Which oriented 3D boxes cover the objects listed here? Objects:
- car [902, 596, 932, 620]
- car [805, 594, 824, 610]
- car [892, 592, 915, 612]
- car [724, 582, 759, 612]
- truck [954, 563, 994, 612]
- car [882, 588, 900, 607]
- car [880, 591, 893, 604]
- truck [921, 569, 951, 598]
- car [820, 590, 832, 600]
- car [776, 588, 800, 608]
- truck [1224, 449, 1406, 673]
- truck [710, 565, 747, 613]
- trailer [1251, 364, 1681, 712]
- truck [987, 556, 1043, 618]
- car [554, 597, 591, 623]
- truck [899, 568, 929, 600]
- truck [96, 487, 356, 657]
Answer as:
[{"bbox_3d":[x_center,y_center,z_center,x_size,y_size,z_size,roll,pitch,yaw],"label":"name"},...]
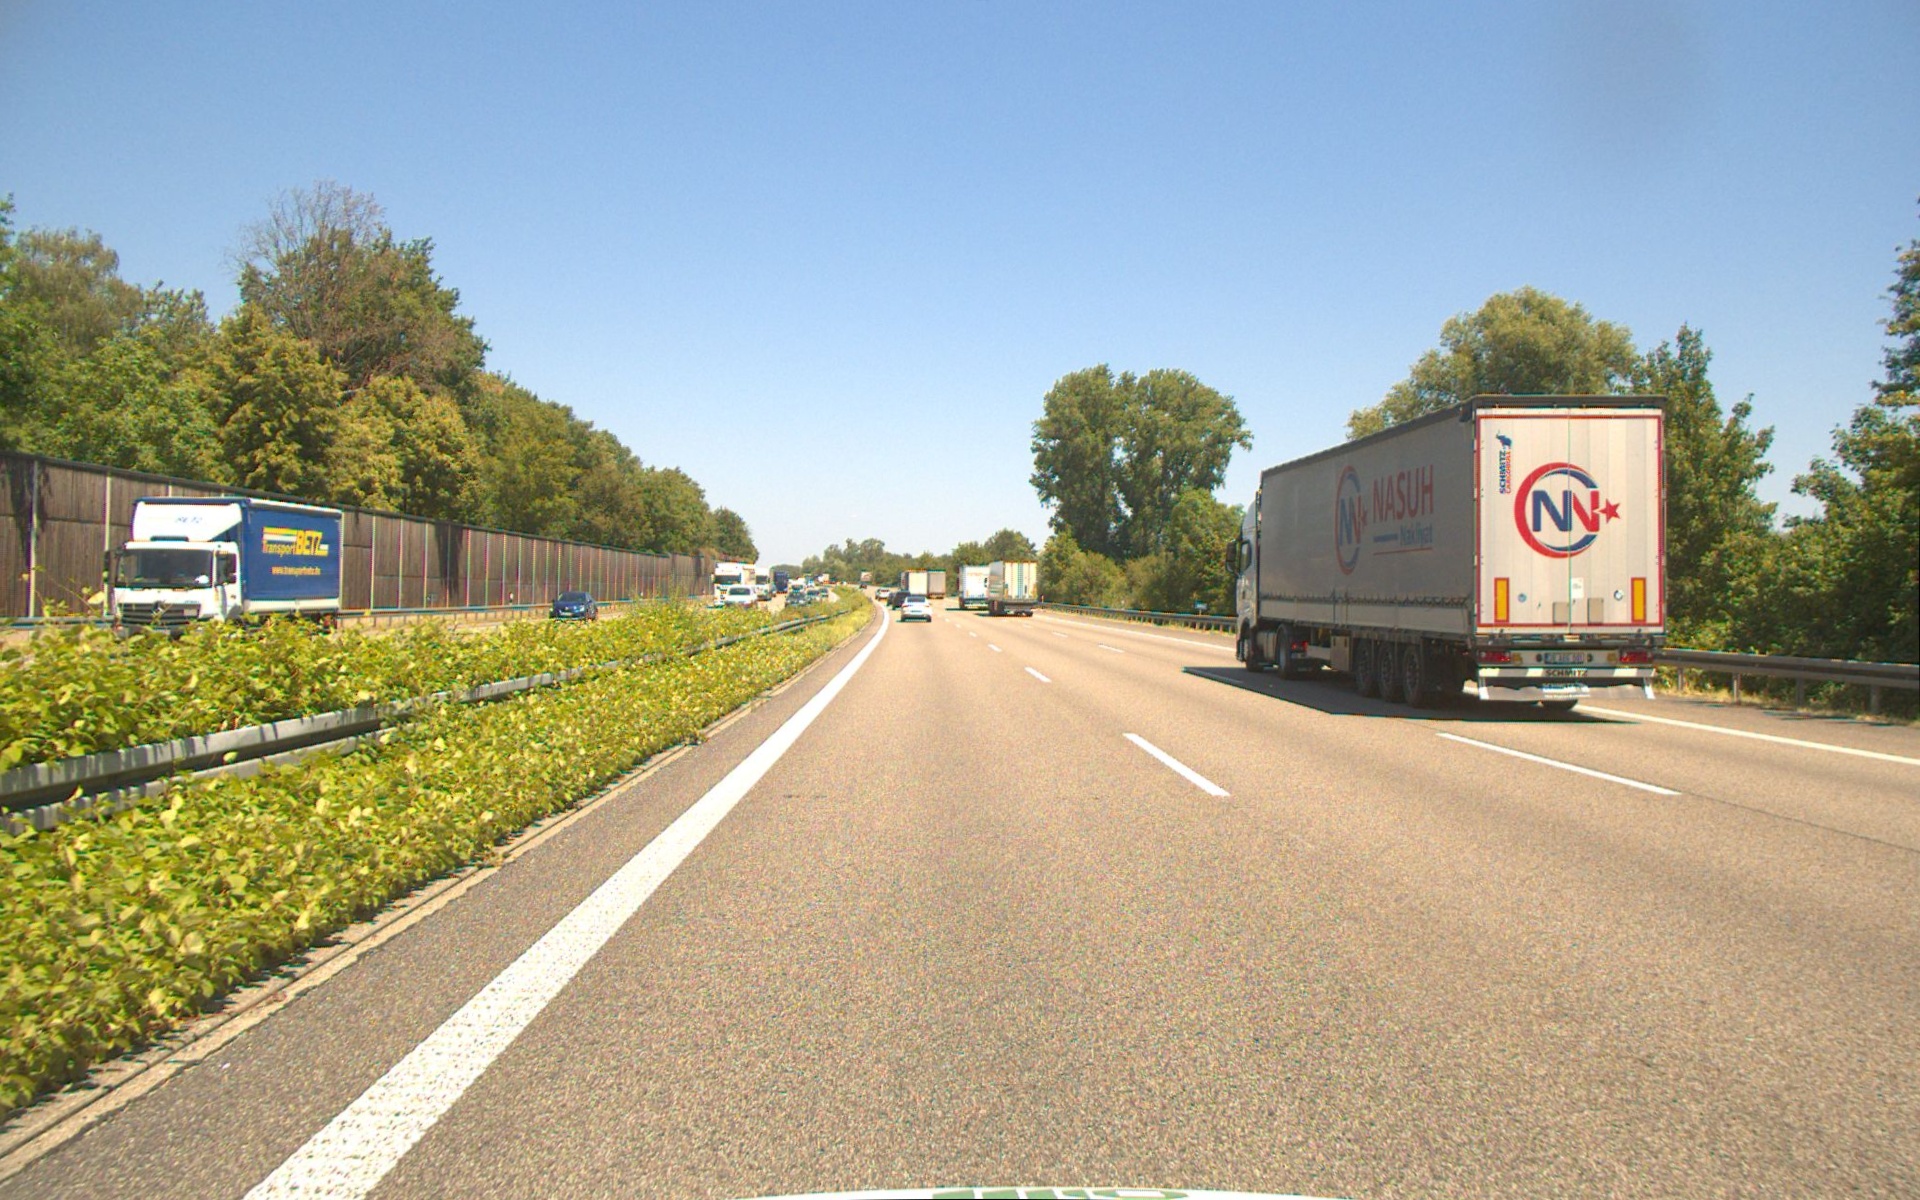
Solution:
[{"bbox_3d":[-2.533,0.457,97.947,1.680,1.393,3.375,1,0,0],"label":"car"},{"bbox_3d":[-14.896,0.203,169.952,1.730,1.680,4.037,0,0,-2],"label":"car"},{"bbox_3d":[-5.200,0.134,151.920,1.954,1.803,3.997,0,0,-3],"label":"car"},{"bbox_3d":[-14.773,-0.234,112.048,1.887,1.979,4.607,0,0,-2],"label":"car"},{"bbox_3d":[1.224,-1.137,156.463,3.292,4.386,10.824,1,0,-2],"label":"truck"},{"bbox_3d":[-7.533,-0.291,181.424,1.954,2.049,3.998,0,0,-3],"label":"car"},{"bbox_3d":[-10.130,-0.309,228.266,1.689,1.814,3.998,0,0,-3],"label":"car"},{"bbox_3d":[-3.792,-2.476,257.002,3.756,4.386,11.540,1,0,-5],"label":"truck"},{"bbox_3d":[-20.177,-0.700,249.388,1.725,1.453,3.933,0,0,-3],"label":"car"},{"bbox_3d":[-14.160,-0.173,136.377,1.679,1.570,4.359,0,0,-3],"label":"car"},{"bbox_3d":[7.405,-0.767,35.147,2.553,4.362,5.434,1,0,-2],"label":"truck"},{"bbox_3d":[-21.183,-0.988,151.642,2.675,4.266,6.033,1,0,-2],"label":"truck"},{"bbox_3d":[7.591,-0.768,27.781,2.571,4.335,14.056,1,0,-1],"label":"trailer"},{"bbox_3d":[4.045,-0.924,124.715,3.422,4.386,10.984,1,0,-2],"label":"truck"},{"bbox_3d":[-18.892,0.476,80.667,1.254,1.277,3.027,0,0,-3],"label":"car"},{"bbox_3d":[-6.579,-2.201,233.880,3.510,4.386,12.178,1,0,-5],"label":"truck"},{"bbox_3d":[-17.604,-0.609,40.438,2.776,3.672,8.740,1,0,-3],"label":"truck"}]
